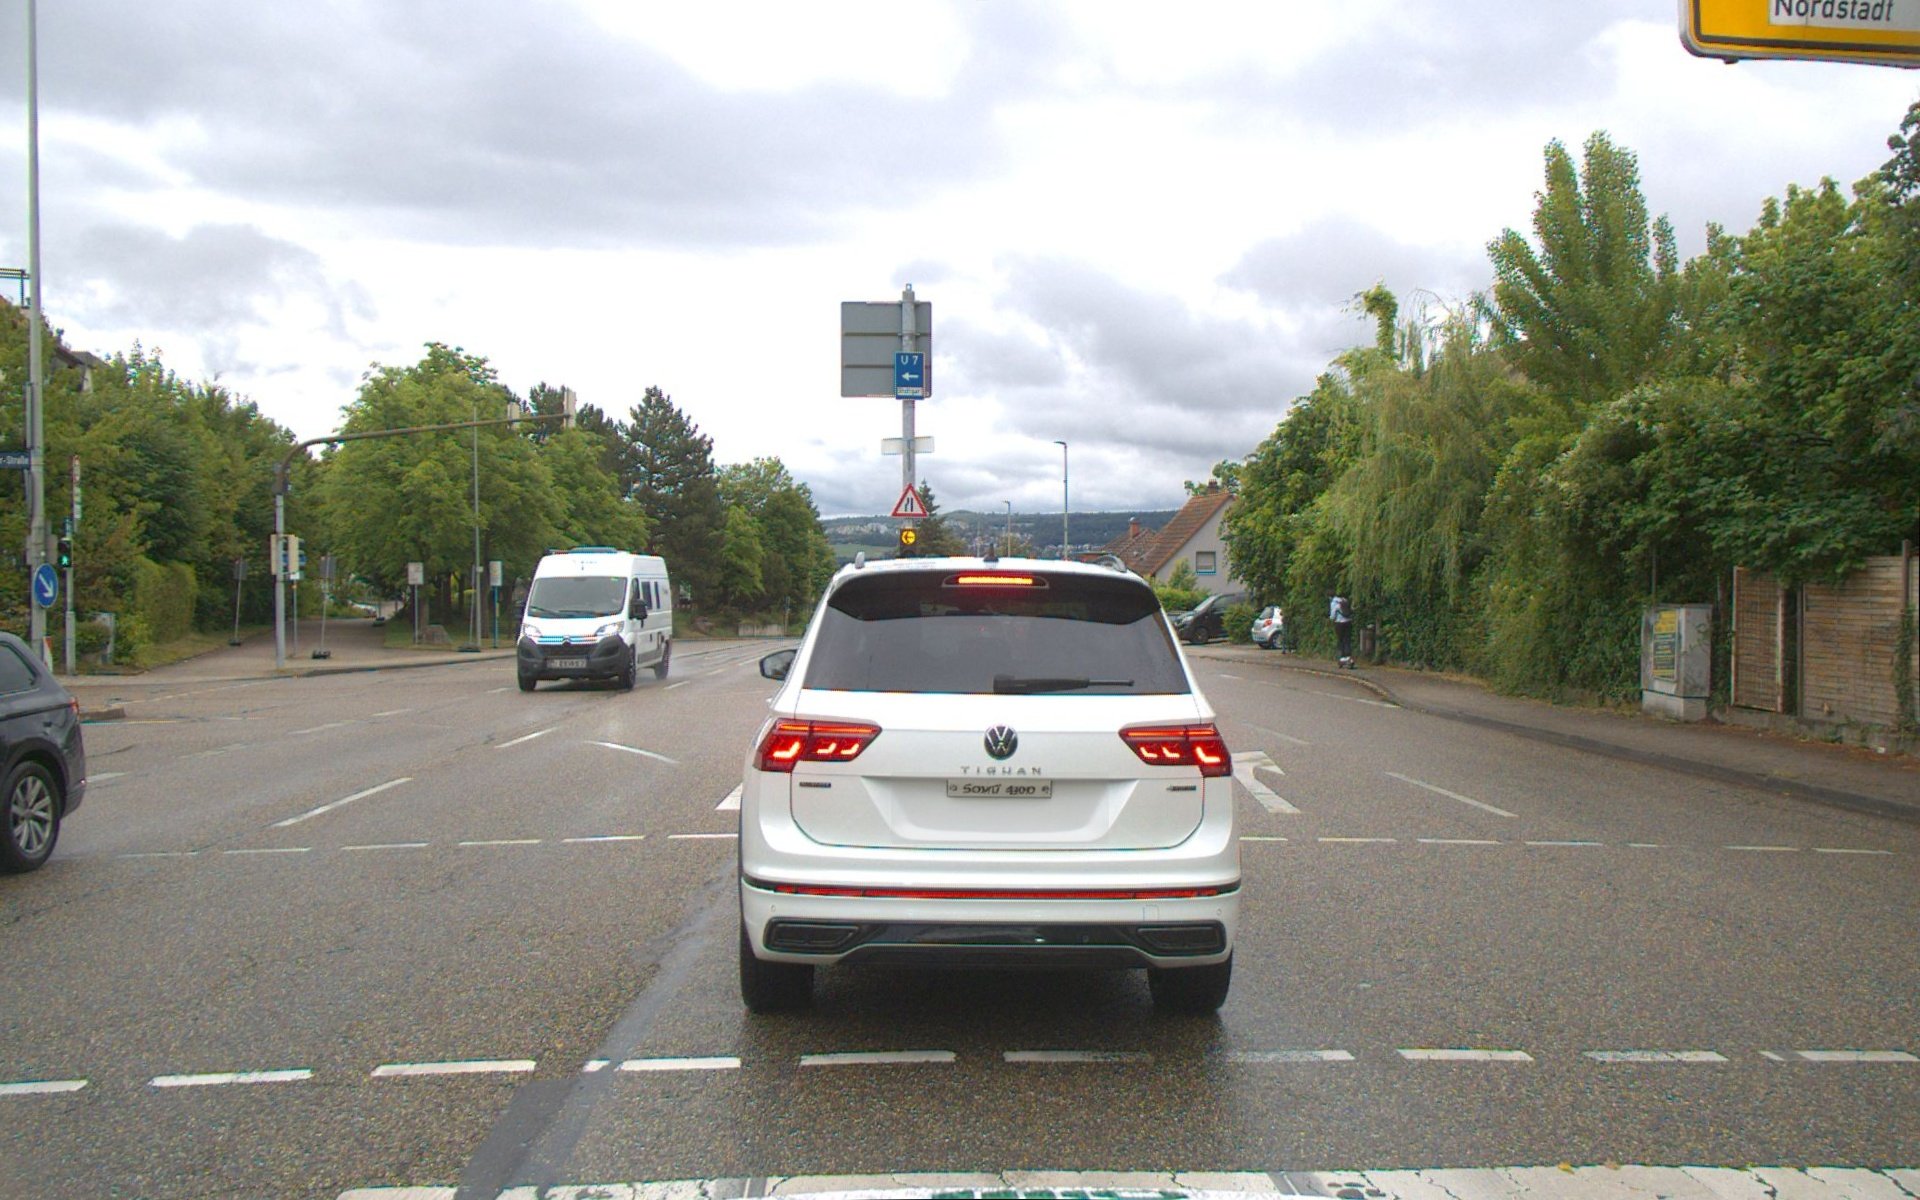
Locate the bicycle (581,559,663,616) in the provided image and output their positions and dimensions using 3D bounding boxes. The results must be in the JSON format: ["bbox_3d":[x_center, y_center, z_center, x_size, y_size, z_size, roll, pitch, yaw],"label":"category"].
[{"bbox_3d":[-7.151,-0.263,35.050,1.603,1.145,0.468,-2,1,-3],"label":"bicycle"}]

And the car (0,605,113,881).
[{"bbox_3d":[-6.198,0.833,8.212,1.740,1.528,4.470,-2,0,-2],"label":"car"}]

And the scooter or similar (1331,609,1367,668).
[{"bbox_3d":[9.372,0.907,39.874,0.452,1.385,1.383,0,0,-4],"label":"scooter or similar"}]

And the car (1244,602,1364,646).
[{"bbox_3d":[11.760,0.822,56.591,3.644,1.420,1.725,-1,-1,-8],"label":"car"}]

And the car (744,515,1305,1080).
[{"bbox_3d":[0.146,0.595,7.256,1.727,1.725,4.271,0,0,-2],"label":"car"}]

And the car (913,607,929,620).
[{"bbox_3d":[-4.737,1.618,201.084,1.813,1.602,3.999,-1,0,-1],"label":"car"}]

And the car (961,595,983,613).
[{"bbox_3d":[1.042,0.350,145.859,1.813,1.602,3.999,-1,0,-1],"label":"car"}]

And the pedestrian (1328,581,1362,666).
[{"bbox_3d":[9.329,0.565,40.094,0.642,2.037,0.717,0,0,-4],"label":"pedestrian"}]

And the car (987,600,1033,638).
[{"bbox_3d":[2.020,0.758,67.903,1.631,1.452,4.304,0,0,-1],"label":"car"}]

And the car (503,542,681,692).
[{"bbox_3d":[-6.945,0.285,31.897,2.251,2.572,5.771,-2,0,-2],"label":"car"}]

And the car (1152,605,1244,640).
[{"bbox_3d":[9.933,0.967,69.209,3.613,1.394,1.518,1,-2,-3],"label":"car"}]

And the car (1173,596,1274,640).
[{"bbox_3d":[10.216,0.697,64.327,3.556,1.654,1.789,0,1,-5],"label":"car"}]

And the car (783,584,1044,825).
[{"bbox_3d":[-0.328,0.709,13.229,1.762,1.617,3.925,1,0,0],"label":"car"}]

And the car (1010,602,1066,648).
[{"bbox_3d":[2.557,0.795,54.847,1.592,1.427,3.689,1,0,-1],"label":"car"}]

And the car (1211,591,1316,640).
[{"bbox_3d":[11.342,0.574,61.929,3.556,1.777,1.706,0,1,-5],"label":"car"}]
